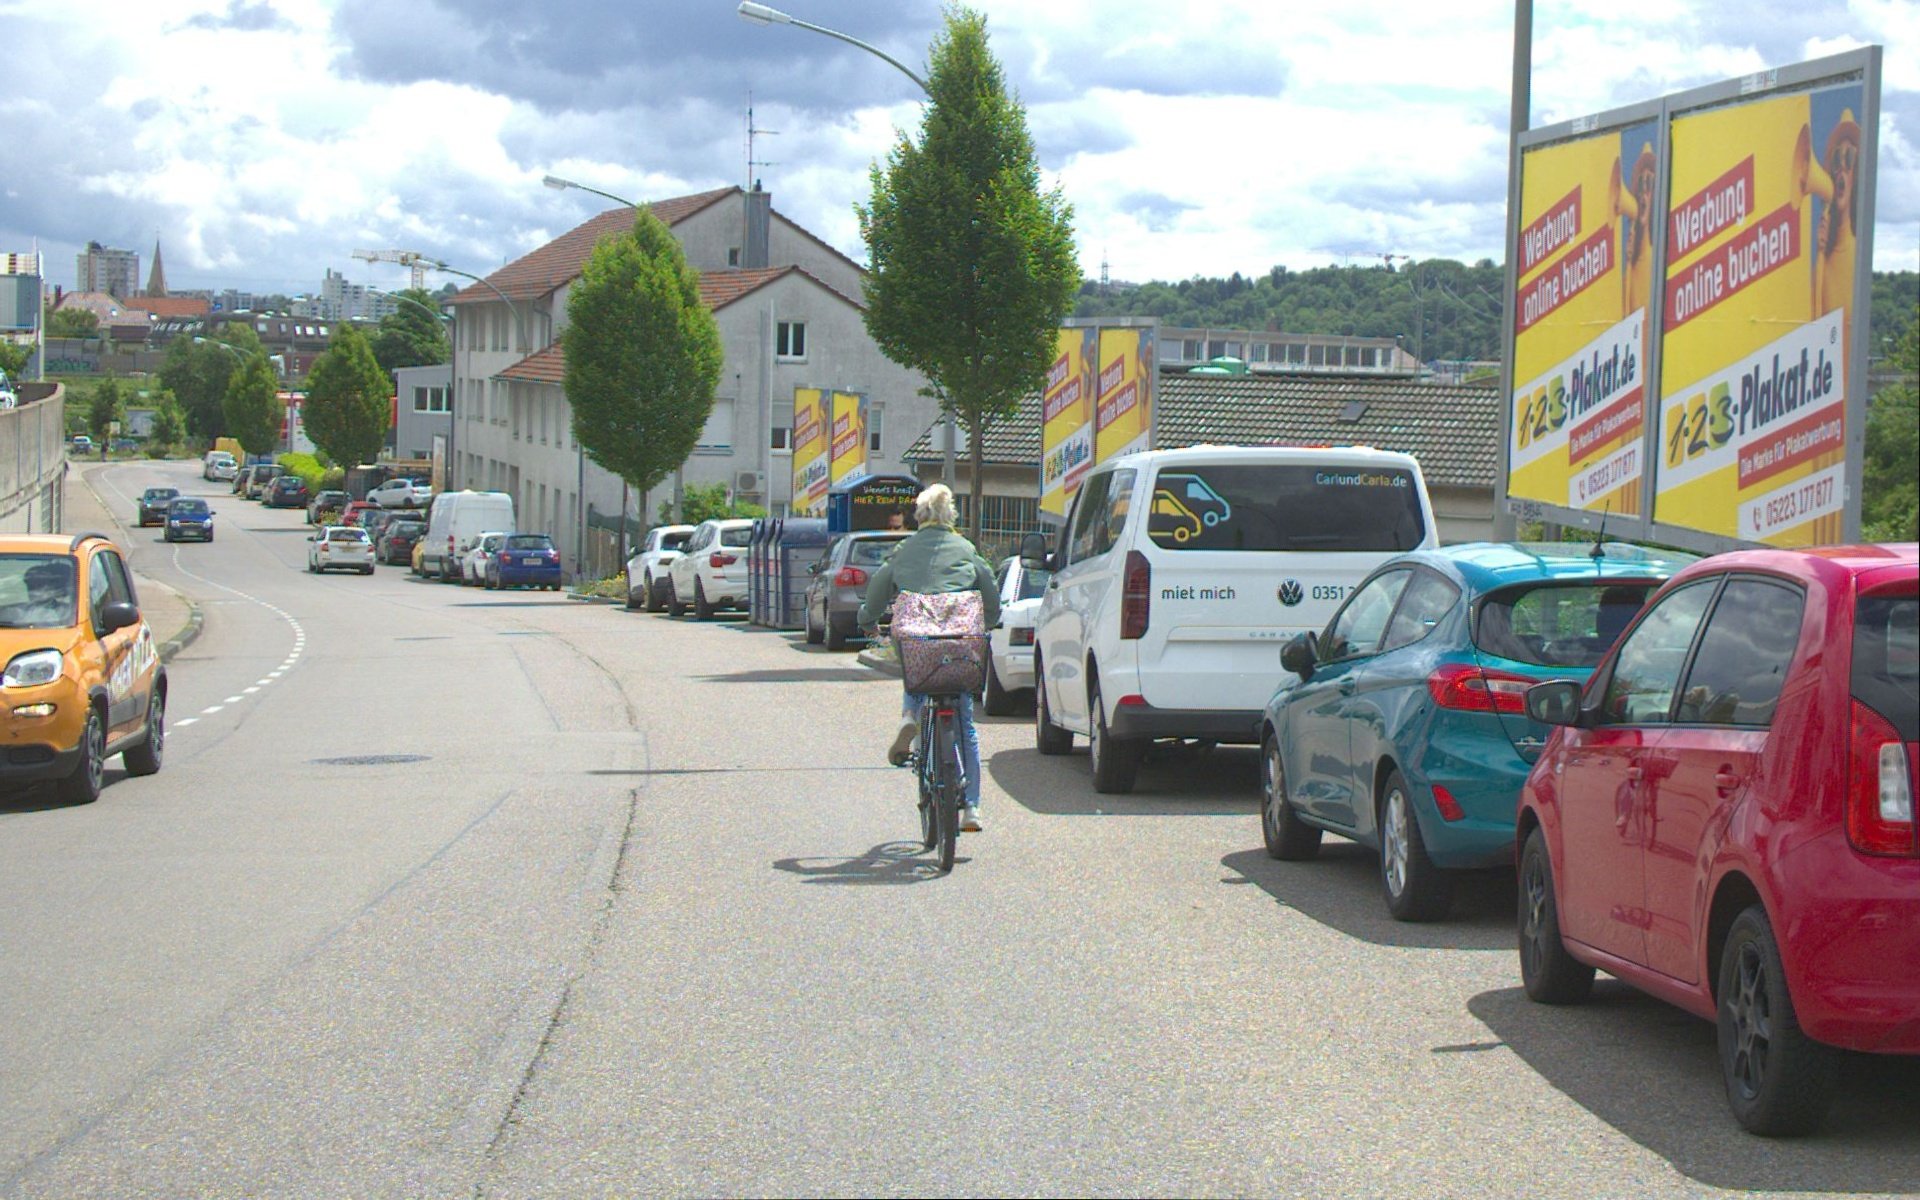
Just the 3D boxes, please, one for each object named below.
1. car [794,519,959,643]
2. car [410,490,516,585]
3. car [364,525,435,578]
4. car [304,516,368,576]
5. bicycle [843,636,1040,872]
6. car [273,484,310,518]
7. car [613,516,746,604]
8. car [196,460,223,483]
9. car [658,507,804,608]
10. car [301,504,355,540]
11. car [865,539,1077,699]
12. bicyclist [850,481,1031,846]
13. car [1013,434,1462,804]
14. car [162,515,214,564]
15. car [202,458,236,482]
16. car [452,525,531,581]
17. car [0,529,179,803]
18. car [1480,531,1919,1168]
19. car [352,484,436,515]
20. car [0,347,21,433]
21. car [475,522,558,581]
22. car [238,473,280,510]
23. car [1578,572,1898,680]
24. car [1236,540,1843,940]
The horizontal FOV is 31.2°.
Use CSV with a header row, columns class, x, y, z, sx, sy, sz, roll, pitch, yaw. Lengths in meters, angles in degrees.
class,x,y,z,sx,sy,sz,roll,pitch,yaw
car,-1.112,-0.260,43.742,1.655,1.480,4.045,-1,1,-8
car,-14.575,-1.804,100.516,2.032,2.632,7.285,1,1,-16
car,-18.986,-1.651,116.369,1.704,1.505,5.089,3,3,-16
car,-19.042,-1.635,104.802,1.566,1.780,3.607,1,1,-15
bicycle,-0.110,0.680,15.752,0.740,0.972,1.733,1,1,-5
car,-34.034,-5.038,174.979,1.679,1.632,4.124,1,2,-13
car,-5.268,-0.754,64.122,1.841,1.560,4.467,-1,1,-13
car,-52.740,-9.028,241.609,1.700,1.522,3.739,1,2,-14
car,-3.935,-0.727,58.469,1.685,1.653,4.481,0,1,-14
car,-27.442,-3.387,149.132,1.790,1.460,4.710,1,2,-16
car,0.039,0.134,32.315,1.637,1.382,4.205,1,1,-4
bicyclist,-0.098,0.280,15.709,0.739,1.621,0.732,1,0,-5
car,1.563,0.060,21.545,1.974,1.997,5.548,1,1,-4
car,-29.168,-2.264,129.853,1.626,1.811,3.781,-1,1,-17
car,-49.974,-8.769,231.753,1.700,1.522,3.739,3,2,-19
car,-12.933,-1.289,94.719,1.592,1.505,3.791,1,1,-16
car,-5.774,0.331,20.511,1.601,1.485,3.682,1,1,-4
car,2.637,0.560,9.751,1.593,1.476,3.500,1,1,-3
car,-27.970,-4.969,169.900,4.070,1.457,1.722,1,4,37
car,-21.056,-4.479,73.431,1.805,1.631,4.106,1,1,-14
car,-11.616,-1.264,89.908,1.566,1.505,4.095,1,1,-15
car,-38.599,-5.981,189.181,1.868,1.983,5.146,1,2,-15
car,11.690,0.380,51.920,4.447,1.549,2.000,0,1,4
car,2.284,0.481,14.555,1.592,1.445,3.980,1,1,-4
